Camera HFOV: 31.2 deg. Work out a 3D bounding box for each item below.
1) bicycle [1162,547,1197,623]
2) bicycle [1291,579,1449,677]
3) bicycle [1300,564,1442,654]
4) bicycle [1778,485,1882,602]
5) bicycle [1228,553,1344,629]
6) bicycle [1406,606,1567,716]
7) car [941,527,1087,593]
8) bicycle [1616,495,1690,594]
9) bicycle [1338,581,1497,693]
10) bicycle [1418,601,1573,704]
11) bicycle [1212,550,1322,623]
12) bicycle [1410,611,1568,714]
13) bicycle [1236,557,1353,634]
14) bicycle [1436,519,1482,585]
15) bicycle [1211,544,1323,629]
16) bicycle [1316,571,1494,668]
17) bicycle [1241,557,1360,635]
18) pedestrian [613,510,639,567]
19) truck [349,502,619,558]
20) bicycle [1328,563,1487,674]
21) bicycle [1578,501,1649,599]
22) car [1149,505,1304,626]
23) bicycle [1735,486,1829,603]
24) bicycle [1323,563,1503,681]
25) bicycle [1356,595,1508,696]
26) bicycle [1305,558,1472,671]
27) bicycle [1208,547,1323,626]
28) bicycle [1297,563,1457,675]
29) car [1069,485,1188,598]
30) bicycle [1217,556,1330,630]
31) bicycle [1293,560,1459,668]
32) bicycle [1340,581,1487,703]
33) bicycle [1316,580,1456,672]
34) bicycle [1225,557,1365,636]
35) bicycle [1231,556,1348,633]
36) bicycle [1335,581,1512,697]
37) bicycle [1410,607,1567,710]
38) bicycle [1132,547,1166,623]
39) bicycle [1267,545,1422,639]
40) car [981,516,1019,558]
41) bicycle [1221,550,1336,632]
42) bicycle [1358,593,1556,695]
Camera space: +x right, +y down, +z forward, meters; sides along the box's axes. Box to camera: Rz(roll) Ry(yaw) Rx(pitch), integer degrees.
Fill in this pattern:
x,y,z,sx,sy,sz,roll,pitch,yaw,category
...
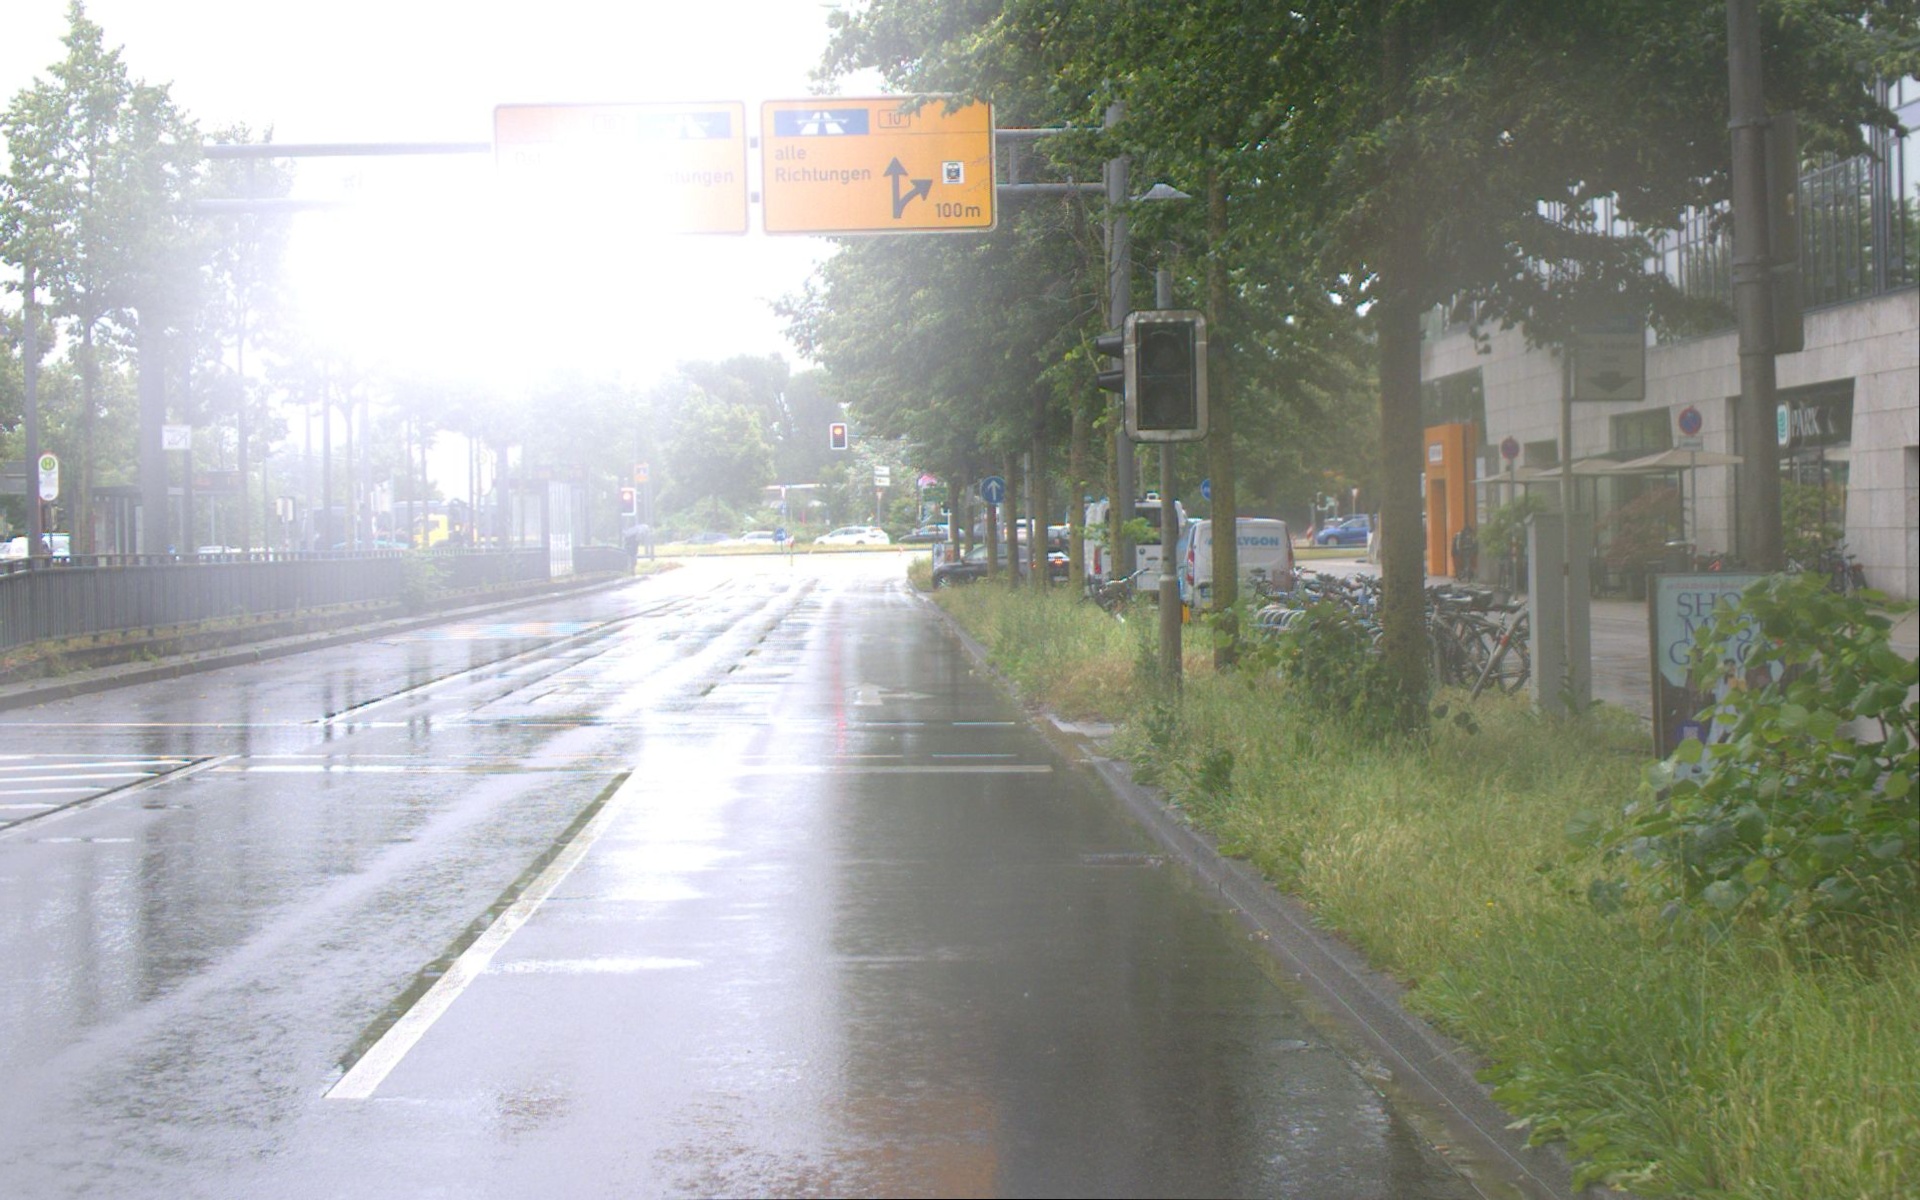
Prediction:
x,y,z,sx,sy,sz,roll,pitch,yaw,category
2.526,-0.185,39.682,0.274,0.846,1.293,-1,1,-1,bicycle
4.280,0.295,35.946,1.614,1.019,0.275,0,1,-2,bicycle
4.261,0.089,35.647,1.410,0.894,0.275,-1,1,-4,bicycle
13.874,-0.925,54.928,0.772,1.716,3.121,-1,3,-2,bicycle
3.774,-0.110,39.826,1.288,0.846,0.275,-1,1,-2,bicycle
4.357,0.503,28.443,1.289,0.871,0.301,-1,1,10,bicycle
1.373,-1.058,89.147,1.815,1.539,4.000,-3,4,-34,car
13.106,-1.072,65.100,0.644,1.716,3.121,-1,3,-2,bicycle
4.237,0.343,31.881,1.439,1.014,0.349,-1,1,5,bicycle
4.583,0.451,29.413,1.289,0.846,0.275,-1,1,10,bicycle
3.703,-0.159,41.515,1.288,0.846,0.275,-1,1,-2,bicycle
4.434,0.521,28.824,1.289,0.829,0.275,-1,1,10,bicycle
3.805,-0.054,39.126,1.288,0.846,0.275,-1,1,-2,bicycle
12.600,-1.215,86.908,0.666,1.529,2.765,-1,3,-1,bicycle
3.645,-0.161,40.813,1.288,0.985,0.275,-1,1,-2,bicycle
4.371,0.192,33.771,1.705,0.945,0.313,0,1,-8,bicycle
3.833,-0.046,38.735,1.288,0.846,0.275,-1,1,-2,bicycle
-11.939,-2.186,122.890,0.698,2.006,0.655,0,3,14,pedestrian
-27.223,-4.028,196.845,14.855,3.136,3.524,-1,1,-20,truck
4.194,0.172,32.267,1.439,1.014,0.349,-1,1,3,bicycle
12.357,-0.967,65.099,0.644,1.716,3.121,-1,3,-2,bicycle
4.114,-0.569,53.760,1.906,1.785,4.689,-1,1,-2,car
13.093,-0.905,54.851,0.644,1.716,3.121,-1,3,-2,bicycle
4.408,0.212,33.442,1.705,1.099,0.283,-1,1,-8,bicycle
4.150,0.399,30.279,1.288,0.846,0.275,-1,1,3,bicycle
4.290,0.143,34.454,1.612,1.093,0.297,-1,1,-4,bicycle
3.655,-0.165,41.176,1.325,0.907,0.275,-1,1,-2,bicycle
3.954,0.176,32.632,1.452,1.014,0.349,-1,1,-3,bicycle
3.497,-1.241,72.148,2.121,2.266,4.565,-1,1,-2,car
3.692,-0.085,40.510,1.288,0.846,0.275,-1,1,-2,bicycle
4.192,0.139,34.658,1.612,1.050,0.297,-1,1,-4,bicycle
4.095,0.376,31.073,1.289,1.070,0.275,-1,1,7,bicycle
4.088,0.249,32.972,1.288,0.846,0.275,-1,1,-4,bicycle
3.740,-0.037,38.428,1.522,0.846,0.277,-1,1,-2,bicycle
3.785,-0.062,39.472,1.288,0.846,0.355,-1,1,-2,bicycle
4.235,0.355,31.463,1.574,1.014,0.408,-1,1,5,bicycle
4.474,0.495,29.109,1.289,0.846,0.275,-1,1,10,bicycle
2.179,-0.178,39.640,0.274,0.846,1.293,-1,1,-1,bicycle
4.222,-0.094,37.741,1.643,0.985,0.320,-1,1,-2,bicycle
1.821,-2.854,154.613,1.623,1.694,3.456,-1,3,2,car
3.720,-0.107,40.168,1.288,0.915,0.275,-1,1,-2,bicycle
4.327,0.382,29.954,1.672,0.846,0.275,-1,1,3,bicycle
